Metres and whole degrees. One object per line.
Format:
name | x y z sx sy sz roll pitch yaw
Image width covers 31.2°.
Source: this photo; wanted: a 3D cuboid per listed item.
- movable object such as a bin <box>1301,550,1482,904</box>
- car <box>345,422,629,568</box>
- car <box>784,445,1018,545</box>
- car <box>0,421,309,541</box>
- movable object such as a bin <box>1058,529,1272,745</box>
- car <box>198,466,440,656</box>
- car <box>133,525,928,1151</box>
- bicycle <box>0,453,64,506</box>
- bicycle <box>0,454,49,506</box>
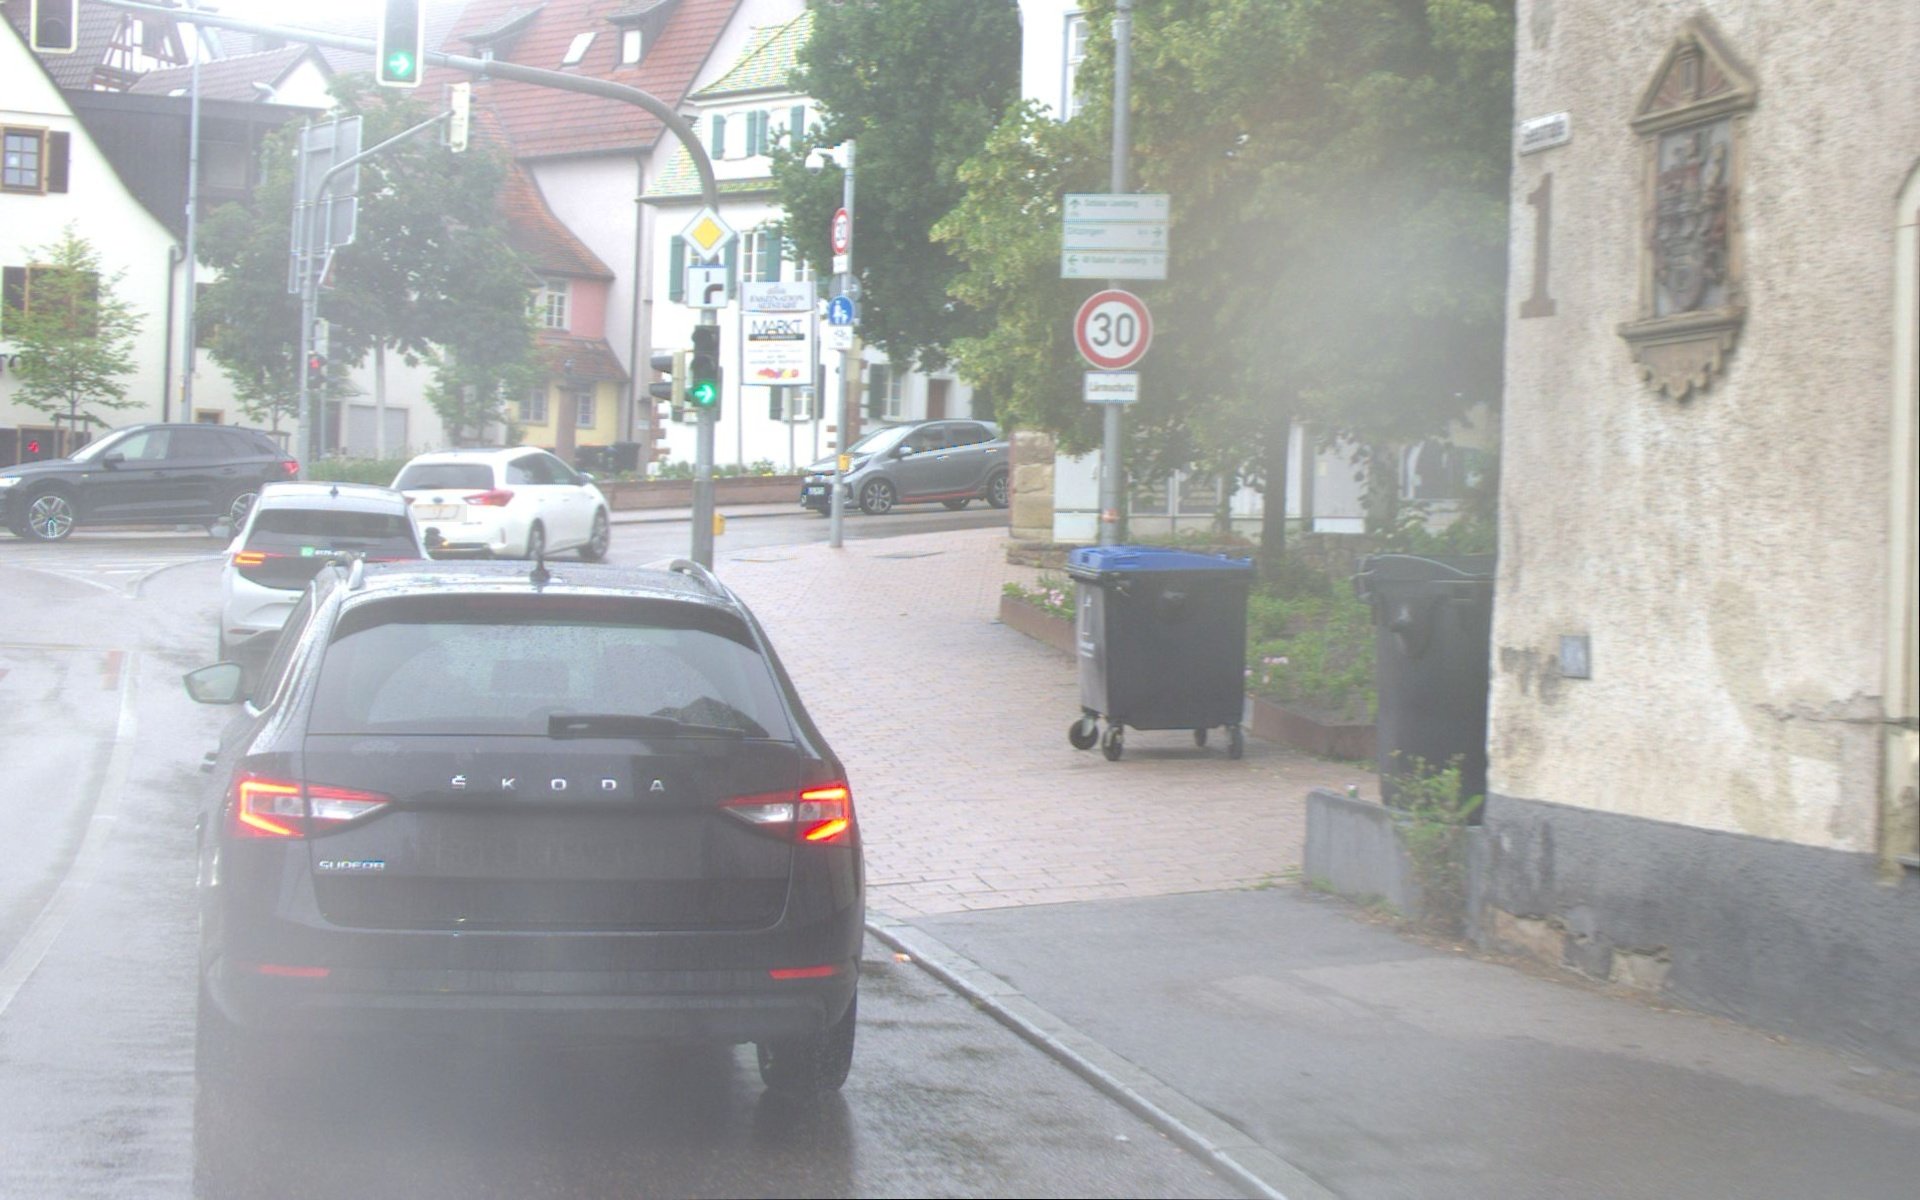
movable object such as a bin | 1.797 0.519 14.341 0.412 1.437 0.644 1 -1 -35
car | -5.566 -1.262 41.002 1.886 1.590 4.323 2 2 13
car | -0.943 -1.676 54.665 3.378 1.472 1.536 1 2 -19
car | -11.890 -1.713 49.209 4.732 1.582 1.831 1 3 -24
movable object such as a bin | 1.290 0.220 21.898 1.154 1.308 1.187 1 1 -5
car | -5.450 -0.373 29.347 1.856 1.468 4.001 1 2 -10
car | -1.165 0.539 10.550 1.886 1.443 4.358 2 2 -3
bicycle | -16.554 -2.130 60.800 0.392 0.909 1.467 3 3 33
bicycle | -16.912 -2.143 61.110 0.392 0.909 1.467 3 3 33
